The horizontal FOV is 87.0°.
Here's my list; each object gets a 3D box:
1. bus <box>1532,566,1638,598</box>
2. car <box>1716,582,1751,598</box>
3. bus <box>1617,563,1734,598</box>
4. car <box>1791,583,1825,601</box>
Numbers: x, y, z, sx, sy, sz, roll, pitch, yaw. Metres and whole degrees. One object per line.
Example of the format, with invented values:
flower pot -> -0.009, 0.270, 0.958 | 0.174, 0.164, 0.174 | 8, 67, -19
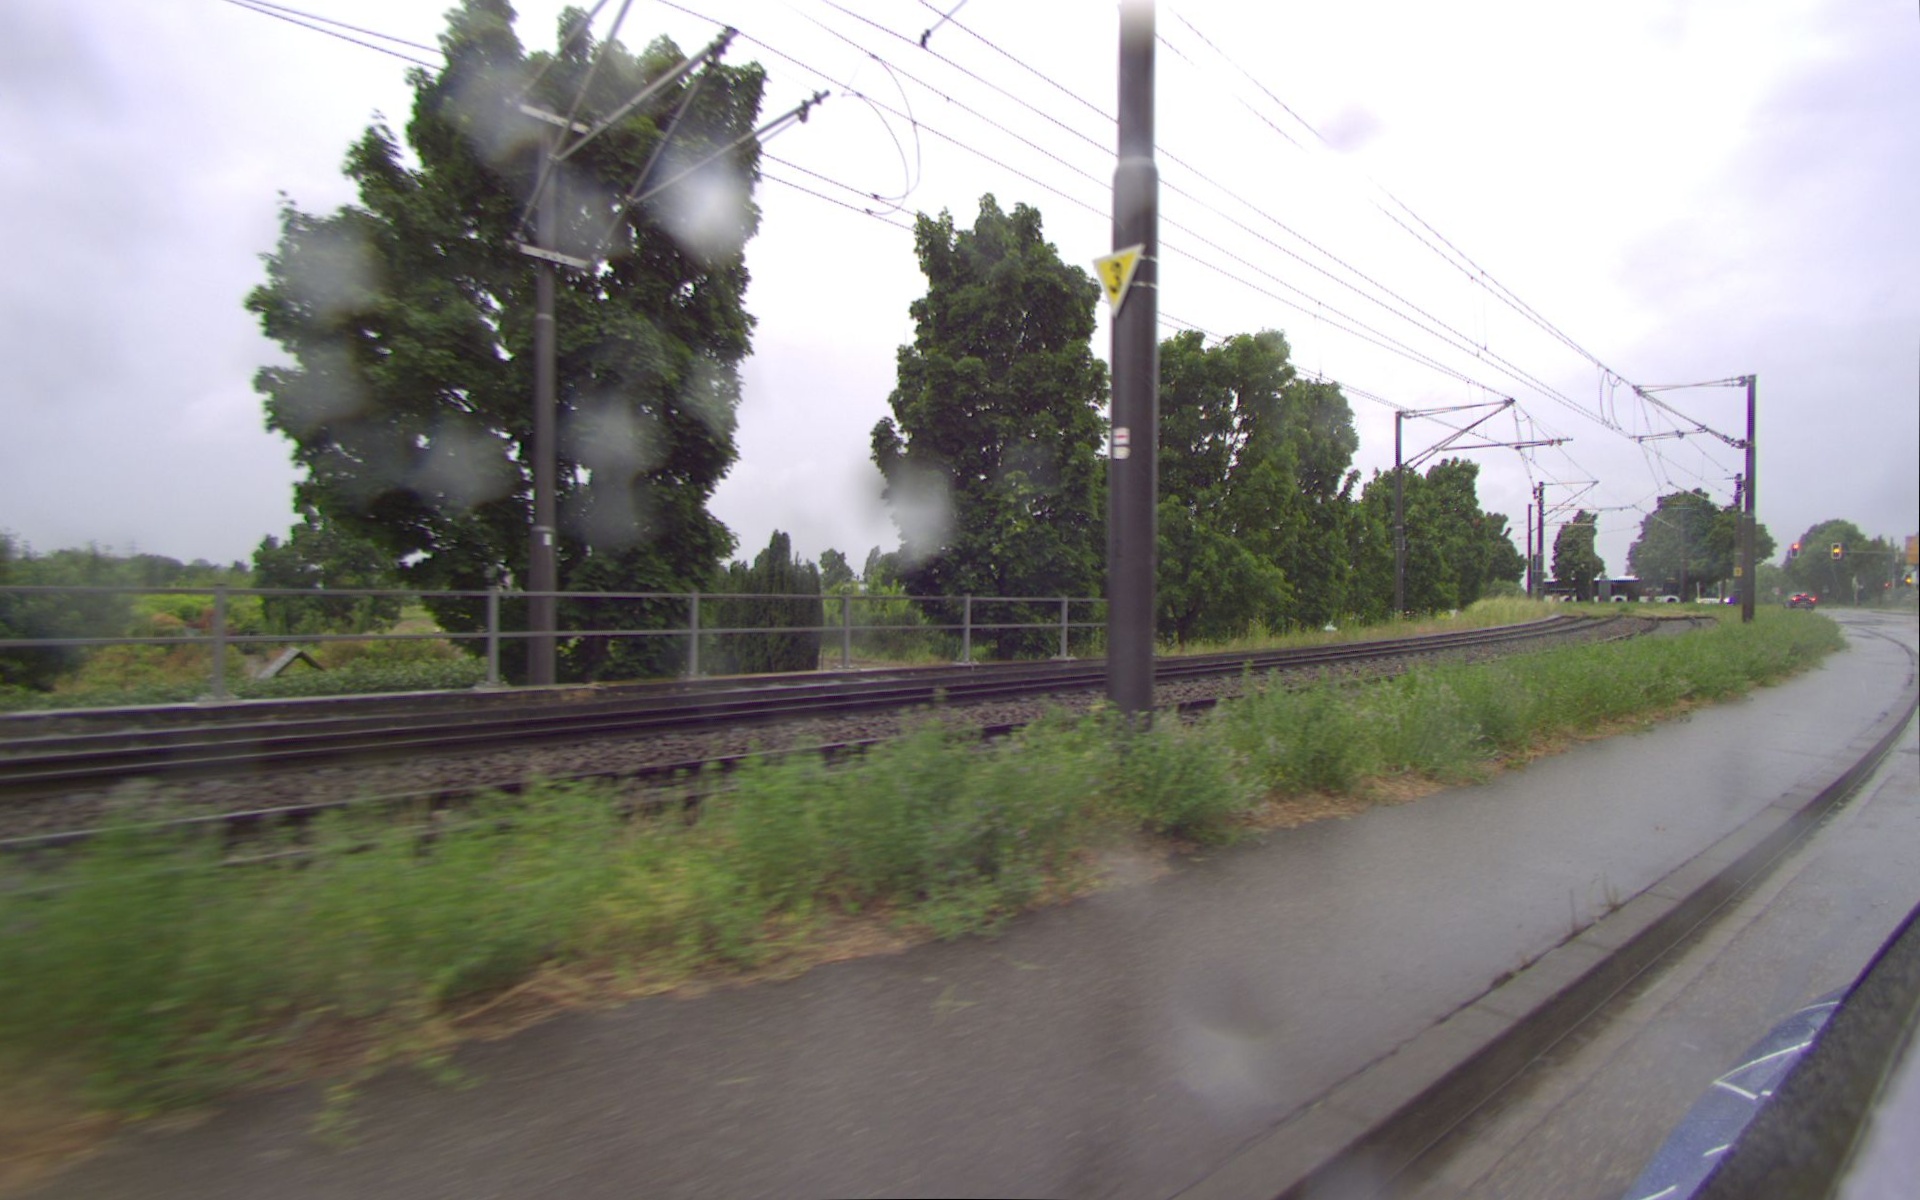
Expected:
bus -> 64.698, -1.853, 105.085 | 2.622, 3.116, 10.015 | -1, 1, -19
car -> 99.456, -1.247, 130.158 | 3.917, 2.039, 1.925 | -1, 0, -23
bus -> 67.204, -1.763, 95.468 | 2.623, 3.116, 10.012 | 0, 1, -10
car -> 75.504, -0.737, 90.125 | 1.754, 1.556, 3.833 | 1, 1, 32
